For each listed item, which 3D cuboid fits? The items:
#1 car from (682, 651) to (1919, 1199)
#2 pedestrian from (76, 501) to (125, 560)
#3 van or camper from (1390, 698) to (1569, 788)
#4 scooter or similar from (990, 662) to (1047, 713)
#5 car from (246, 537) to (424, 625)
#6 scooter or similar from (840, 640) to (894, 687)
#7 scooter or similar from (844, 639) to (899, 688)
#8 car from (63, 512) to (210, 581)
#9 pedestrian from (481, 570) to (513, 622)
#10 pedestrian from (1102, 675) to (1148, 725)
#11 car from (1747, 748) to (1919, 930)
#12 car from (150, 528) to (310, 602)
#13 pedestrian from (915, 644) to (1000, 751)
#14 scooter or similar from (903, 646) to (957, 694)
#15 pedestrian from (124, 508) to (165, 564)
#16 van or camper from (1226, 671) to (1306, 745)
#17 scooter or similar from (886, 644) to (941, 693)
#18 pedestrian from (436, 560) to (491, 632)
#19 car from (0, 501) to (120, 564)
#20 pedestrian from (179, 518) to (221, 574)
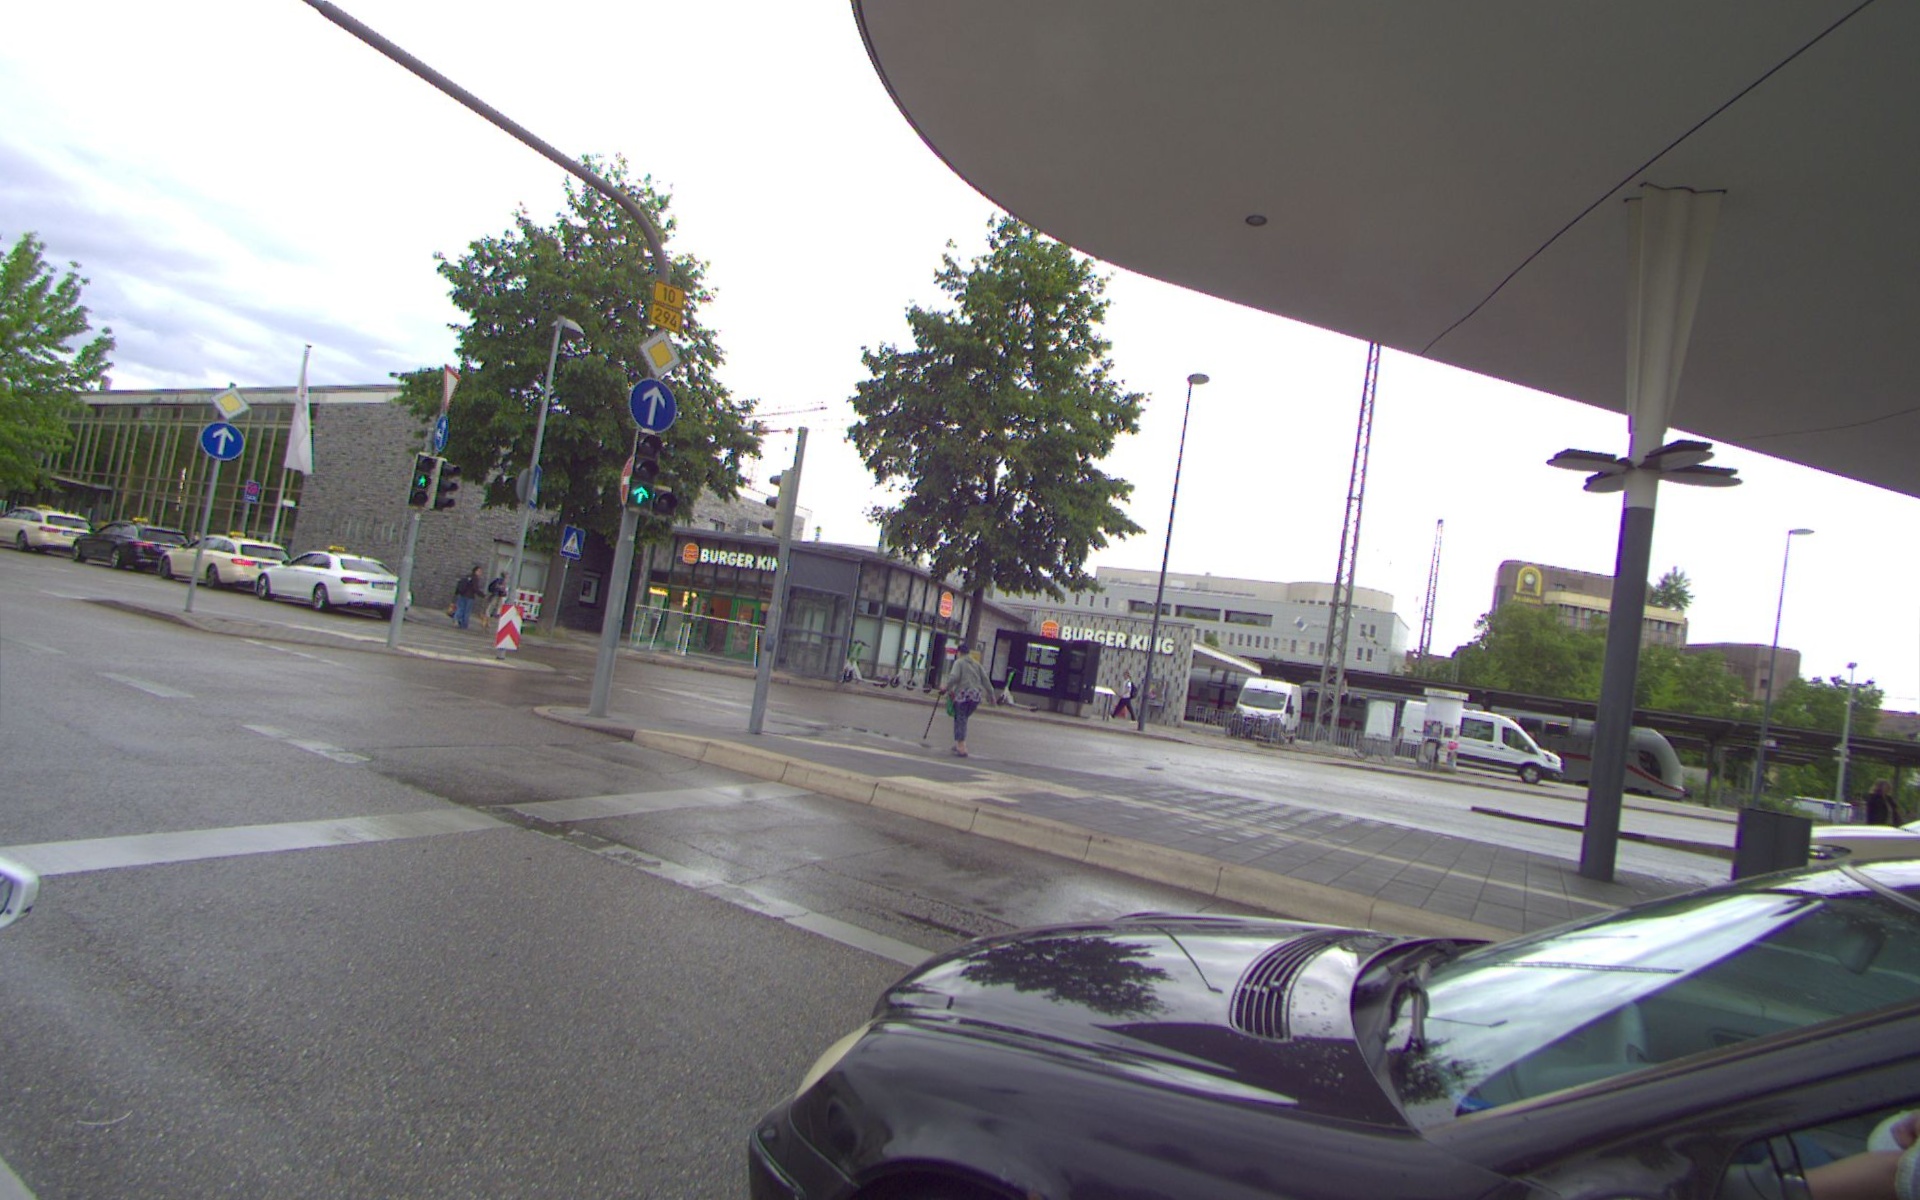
[{"bbox_3d":[1.800,1.151,1.487,4.363,1.493,1.753,5,-8,32],"label":"car"},{"bbox_3d":[-32.788,-2.649,38.395,0.904,2.036,0.815,8,-1,8],"label":"pedestrian"},{"bbox_3d":[20.350,5.542,39.546,5.873,2.491,2.108,7,-2,32],"label":"van or camper"},{"bbox_3d":[1.723,2.592,29.777,1.503,1.284,0.467,8,-1,-4],"label":"scooter or similar"},{"bbox_3d":[-15.842,-0.506,25.459,4.538,1.608,1.779,7,-2,30],"label":"car"},{"bbox_3d":[-2.618,1.804,28.421,1.313,1.157,0.464,9,-2,-31],"label":"scooter or similar"},{"bbox_3d":[-2.449,1.755,27.763,1.309,1.167,0.465,9,-2,-21],"label":"scooter or similar"},{"bbox_3d":[-25.827,-1.696,31.528,4.662,1.542,1.918,7,-2,30],"label":"car"},{"bbox_3d":[-15.692,-0.134,34.091,0.556,1.652,0.562,7,-2,30],"label":"pedestrian"},{"bbox_3d":[5.783,3.511,35.229,0.910,1.552,1.096,9,-2,-36],"label":"pedestrian"},{"bbox_3d":[11.244,2.790,10.567,4.360,1.665,1.807,7,-5,32],"label":"car"},{"bbox_3d":[-20.620,-1.002,28.386,4.588,1.468,1.851,7,-2,30],"label":"car"},{"bbox_3d":[-0.028,1.384,14.190,0.753,1.374,0.738,7,-3,31],"label":"pedestrian"},{"bbox_3d":[-0.938,2.159,31.175,1.503,1.284,0.467,8,-1,-4],"label":"scooter or similar"},{"bbox_3d":[-32.517,-2.552,40.106,0.906,2.036,0.813,7,-2,32],"label":"pedestrian"},{"bbox_3d":[12.551,4.407,41.015,2.072,2.491,5.975,7,-3,25],"label":"van or camper"},{"bbox_3d":[-1.400,2.060,30.350,1.503,1.284,0.467,8,-1,-4],"label":"scooter or similar"},{"bbox_3d":[-12.661,-0.103,25.662,0.700,1.693,0.809,7,-2,31],"label":"pedestrian"},{"bbox_3d":[-31.422,-2.372,34.539,4.736,1.618,2.000,7,-2,25],"label":"car"},{"bbox_3d":[-29.929,-2.117,39.615,0.906,2.036,0.813,7,-2,31],"label":"pedestrian"}]
